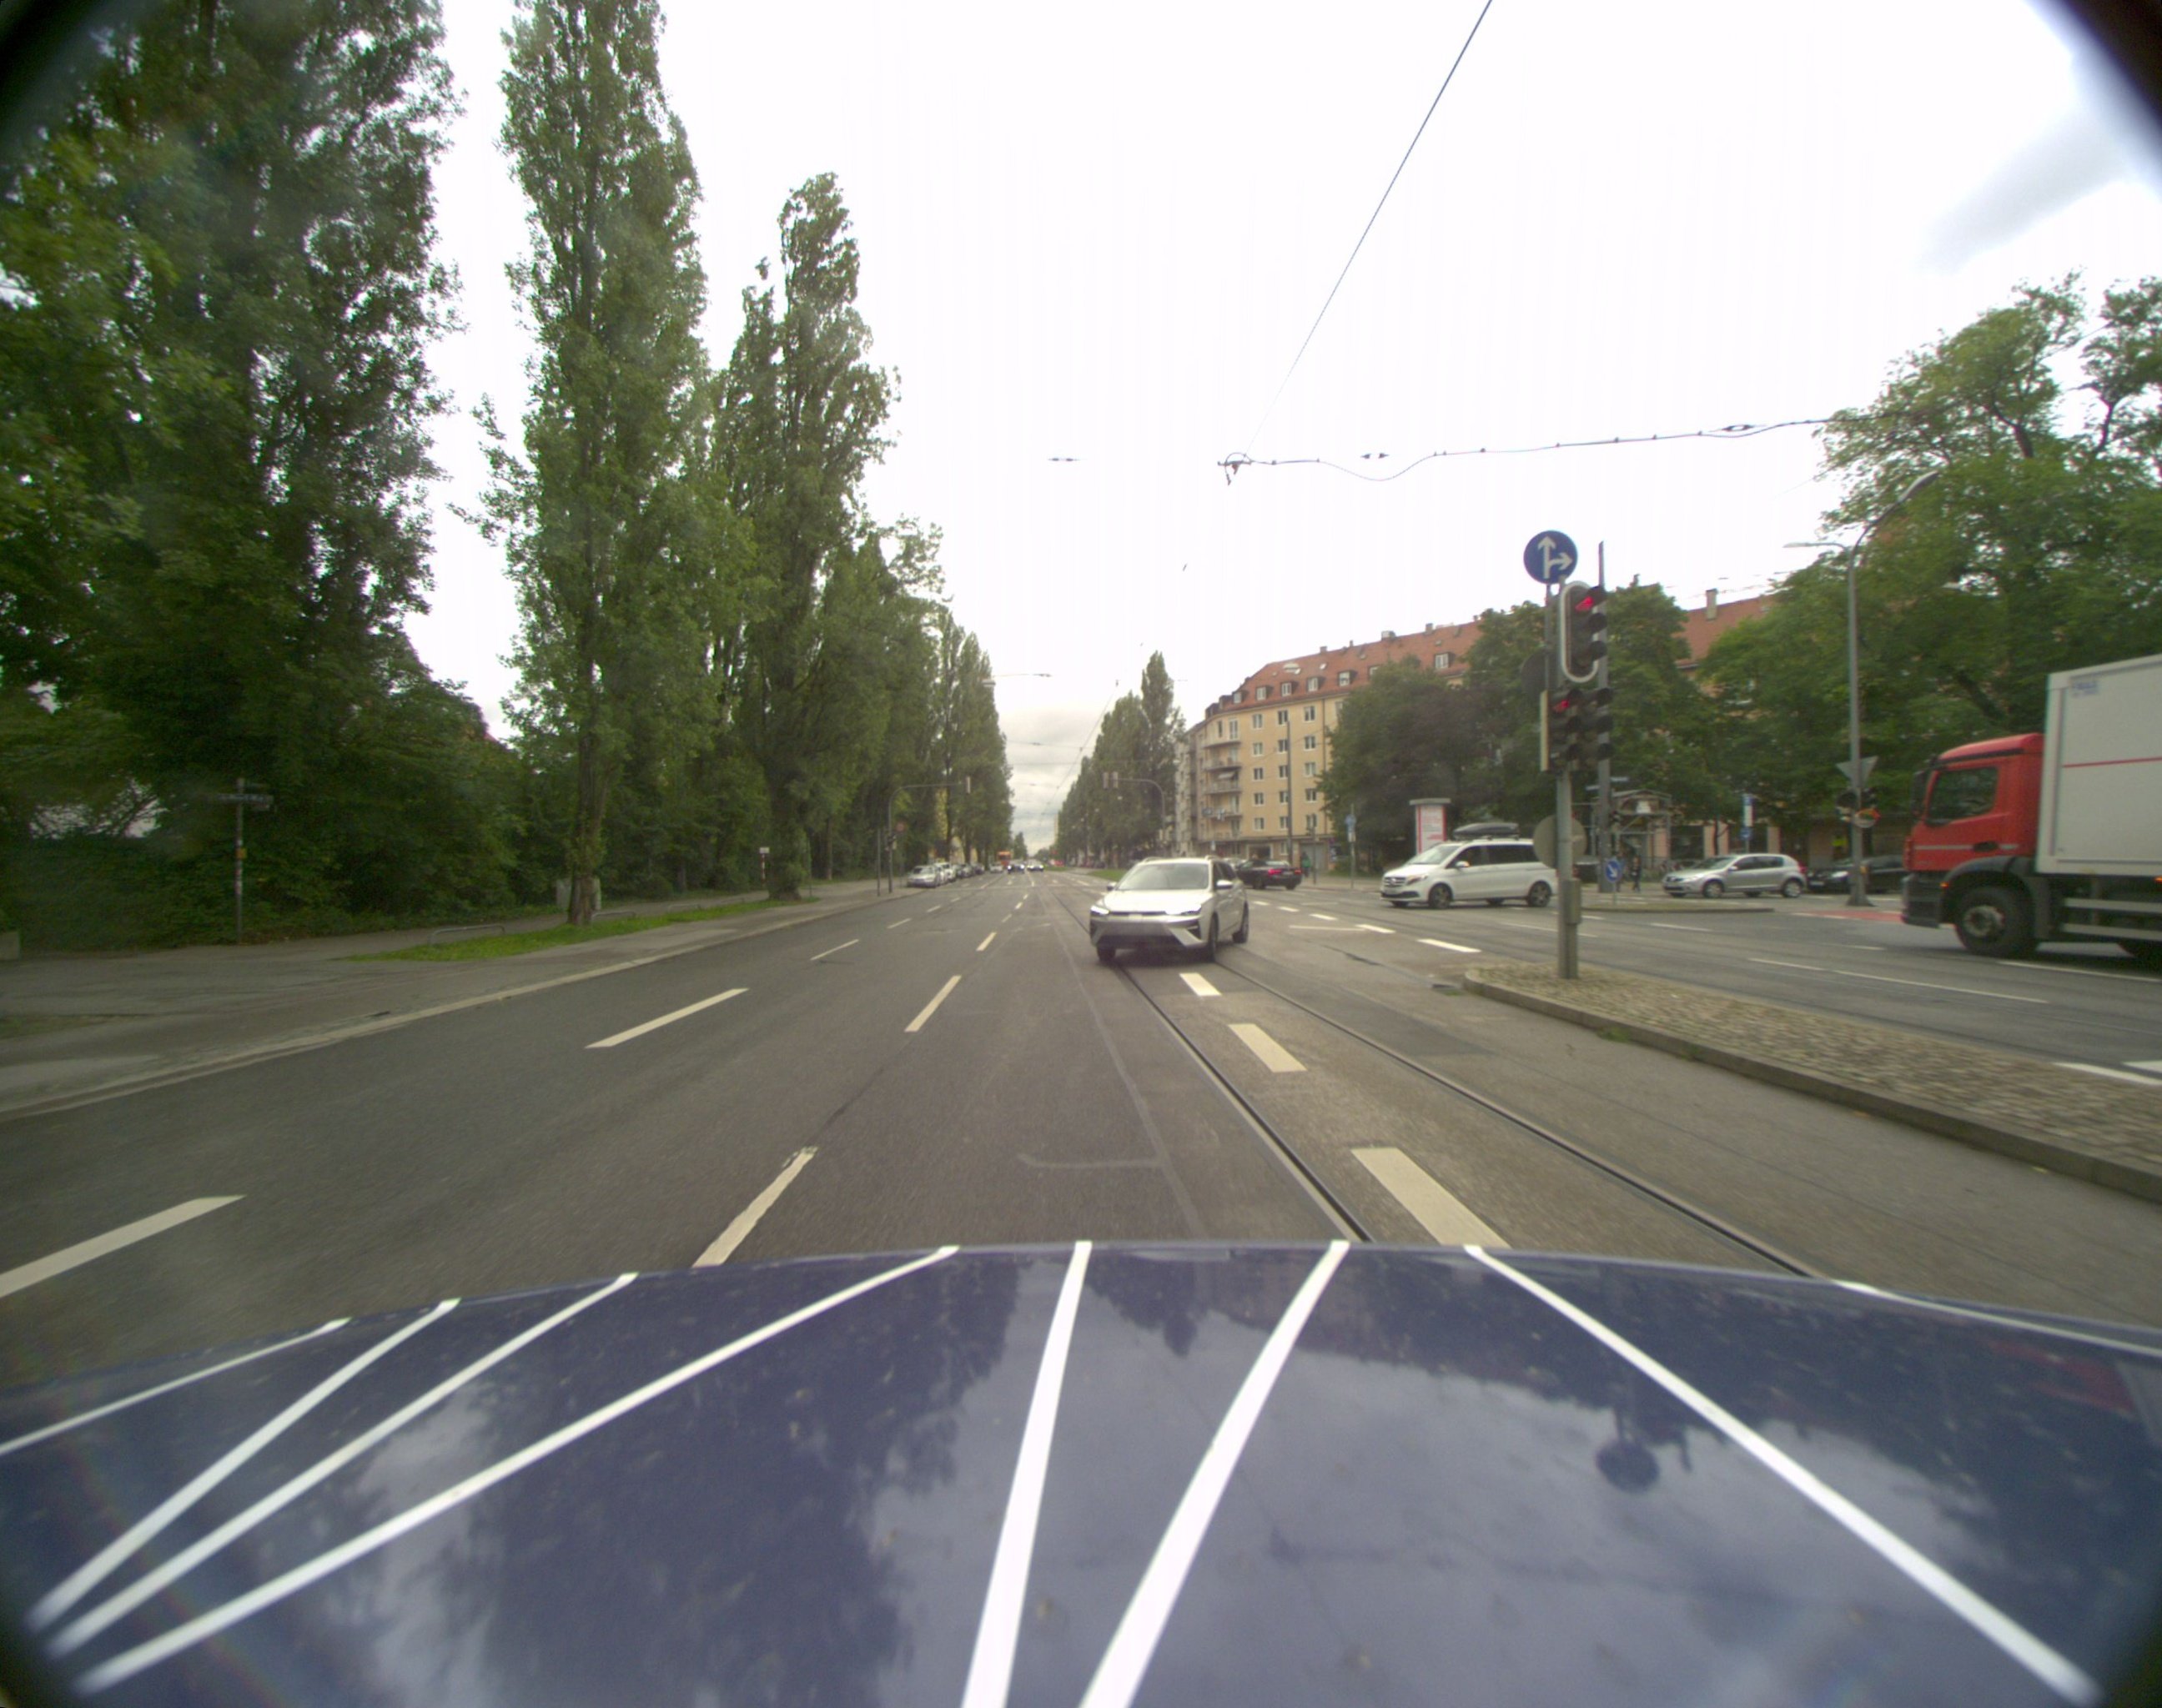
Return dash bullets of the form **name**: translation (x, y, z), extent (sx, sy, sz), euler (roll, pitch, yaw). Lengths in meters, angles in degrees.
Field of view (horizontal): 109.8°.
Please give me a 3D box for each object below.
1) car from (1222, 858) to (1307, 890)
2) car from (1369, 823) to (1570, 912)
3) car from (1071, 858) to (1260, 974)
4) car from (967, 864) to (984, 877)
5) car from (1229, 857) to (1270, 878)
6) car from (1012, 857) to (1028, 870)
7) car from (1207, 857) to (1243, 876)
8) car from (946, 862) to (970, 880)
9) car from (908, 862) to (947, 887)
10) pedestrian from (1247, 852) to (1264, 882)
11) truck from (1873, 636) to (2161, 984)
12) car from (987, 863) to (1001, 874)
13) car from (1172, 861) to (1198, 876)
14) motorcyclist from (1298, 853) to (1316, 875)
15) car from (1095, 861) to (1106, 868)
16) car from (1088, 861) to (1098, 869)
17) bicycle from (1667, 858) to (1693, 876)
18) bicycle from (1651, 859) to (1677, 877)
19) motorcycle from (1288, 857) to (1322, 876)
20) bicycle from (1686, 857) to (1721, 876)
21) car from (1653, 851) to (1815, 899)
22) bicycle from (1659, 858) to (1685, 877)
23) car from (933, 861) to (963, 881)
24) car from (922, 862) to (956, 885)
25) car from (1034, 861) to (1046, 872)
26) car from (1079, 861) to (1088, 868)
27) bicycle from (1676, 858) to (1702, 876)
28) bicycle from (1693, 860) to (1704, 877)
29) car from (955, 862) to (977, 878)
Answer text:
- **car**: translation (8.453, 0.898, 35.507), extent (1.730, 1.381, 4.792), euler (-1, 0, -16)
- **car**: translation (10.990, 0.342, 21.621), extent (4.946, 2.337, 1.912), euler (-1, 0, -10)
- **car**: translation (1.553, 0.872, 12.230), extent (1.772, 1.515, 4.216), euler (-2, -2, 24)
- **car**: translation (-13.117, 2.015, 94.906), extent (1.786, 1.477, 4.138), euler (-1, 0, -3)
- **car**: translation (11.927, 0.950, 54.032), extent (1.730, 1.399, 4.374), euler (-1, 0, -4)
- **car**: translation (-7.341, 1.144, 91.491), extent (1.786, 1.477, 4.138), euler (-1, 0, -3)
- **car**: translation (11.201, 0.988, 59.436), extent (1.730, 1.399, 4.374), euler (-1, 0, -4)
- **car**: translation (-11.398, 1.566, 70.746), extent (1.786, 1.477, 4.138), euler (-1, 0, -3)
- **car**: translation (-9.942, 1.322, 49.474), extent (1.786, 1.477, 4.351), euler (-1, 0, -3)
- **pedestrian**: translation (9.689, 0.720, 42.172), extent (0.550, 1.652, 0.704), euler (-3, -2, 41)
- **truck**: translation (13.562, -0.495, 5.947), extent (2.746, 3.957, 11.716), euler (0, 0, 2)
- **car**: translation (-12.314, 2.064, 107.921), extent (1.786, 1.477, 4.138), euler (-1, 0, -3)
- **car**: translation (10.202, 1.384, 74.768), extent (1.730, 1.399, 4.473), euler (-1, 0, -4)
- **motorcyclist**: translation (14.881, 0.676, 50.061), extent (0.622, 1.434, 0.879), euler (-2, 0, -43)
- **car**: translation (3.997, 2.215, 159.589), extent (1.818, 1.460, 3.999), euler (-1, -2, -6)
- **car**: translation (2.612, 2.457, 170.353), extent (1.818, 1.707, 3.999), euler (-1, -2, -6)
- **bicycle**: translation (29.722, 0.665, 37.744), extent (0.313, 0.888, 1.414), euler (-2, -2, 8)
- **bicycle**: translation (29.037, 0.697, 37.854), extent (0.313, 0.888, 1.414), euler (-2, -2, 8)
- **motorcycle**: translation (14.769, 0.813, 50.095), extent (0.631, 1.164, 2.023), euler (-11, 7, -43)
- **bicycle**: translation (30.760, 0.636, 37.584), extent (0.313, 0.888, 1.411), euler (-1, -2, -13)
- **car**: translation (22.417, 0.707, 26.159), extent (4.207, 1.515, 1.776), euler (-1, -1, -5)
- **bicycle**: translation (29.377, 0.685, 37.795), extent (0.313, 0.888, 1.414), euler (-2, -2, 8)
- **car**: translation (-10.504, 1.348, 60.258), extent (1.786, 1.477, 4.138), euler (-1, 0, -3)
- **car**: translation (-10.242, 1.390, 55.131), extent (1.786, 1.477, 4.258), euler (-1, 0, -3)
- **car**: translation (-5.907, 1.802, 109.224), extent (1.786, 1.477, 4.138), euler (-1, 0, -3)
- **car**: translation (0.593, 2.852, 201.393), extent (1.999, 1.695, 3.999), euler (-1, -2, -6)
- **bicycle**: translation (30.145, 0.660, 37.699), extent (0.313, 0.888, 1.414), euler (-2, -2, 8)
- **bicycle**: translation (33.179, 0.791, 40.834), extent (0.312, 0.888, 1.416), euler (-3, -2, 35)
- **car**: translation (-11.804, 1.606, 78.209), extent (1.786, 1.477, 4.138), euler (-1, 0, -3)
